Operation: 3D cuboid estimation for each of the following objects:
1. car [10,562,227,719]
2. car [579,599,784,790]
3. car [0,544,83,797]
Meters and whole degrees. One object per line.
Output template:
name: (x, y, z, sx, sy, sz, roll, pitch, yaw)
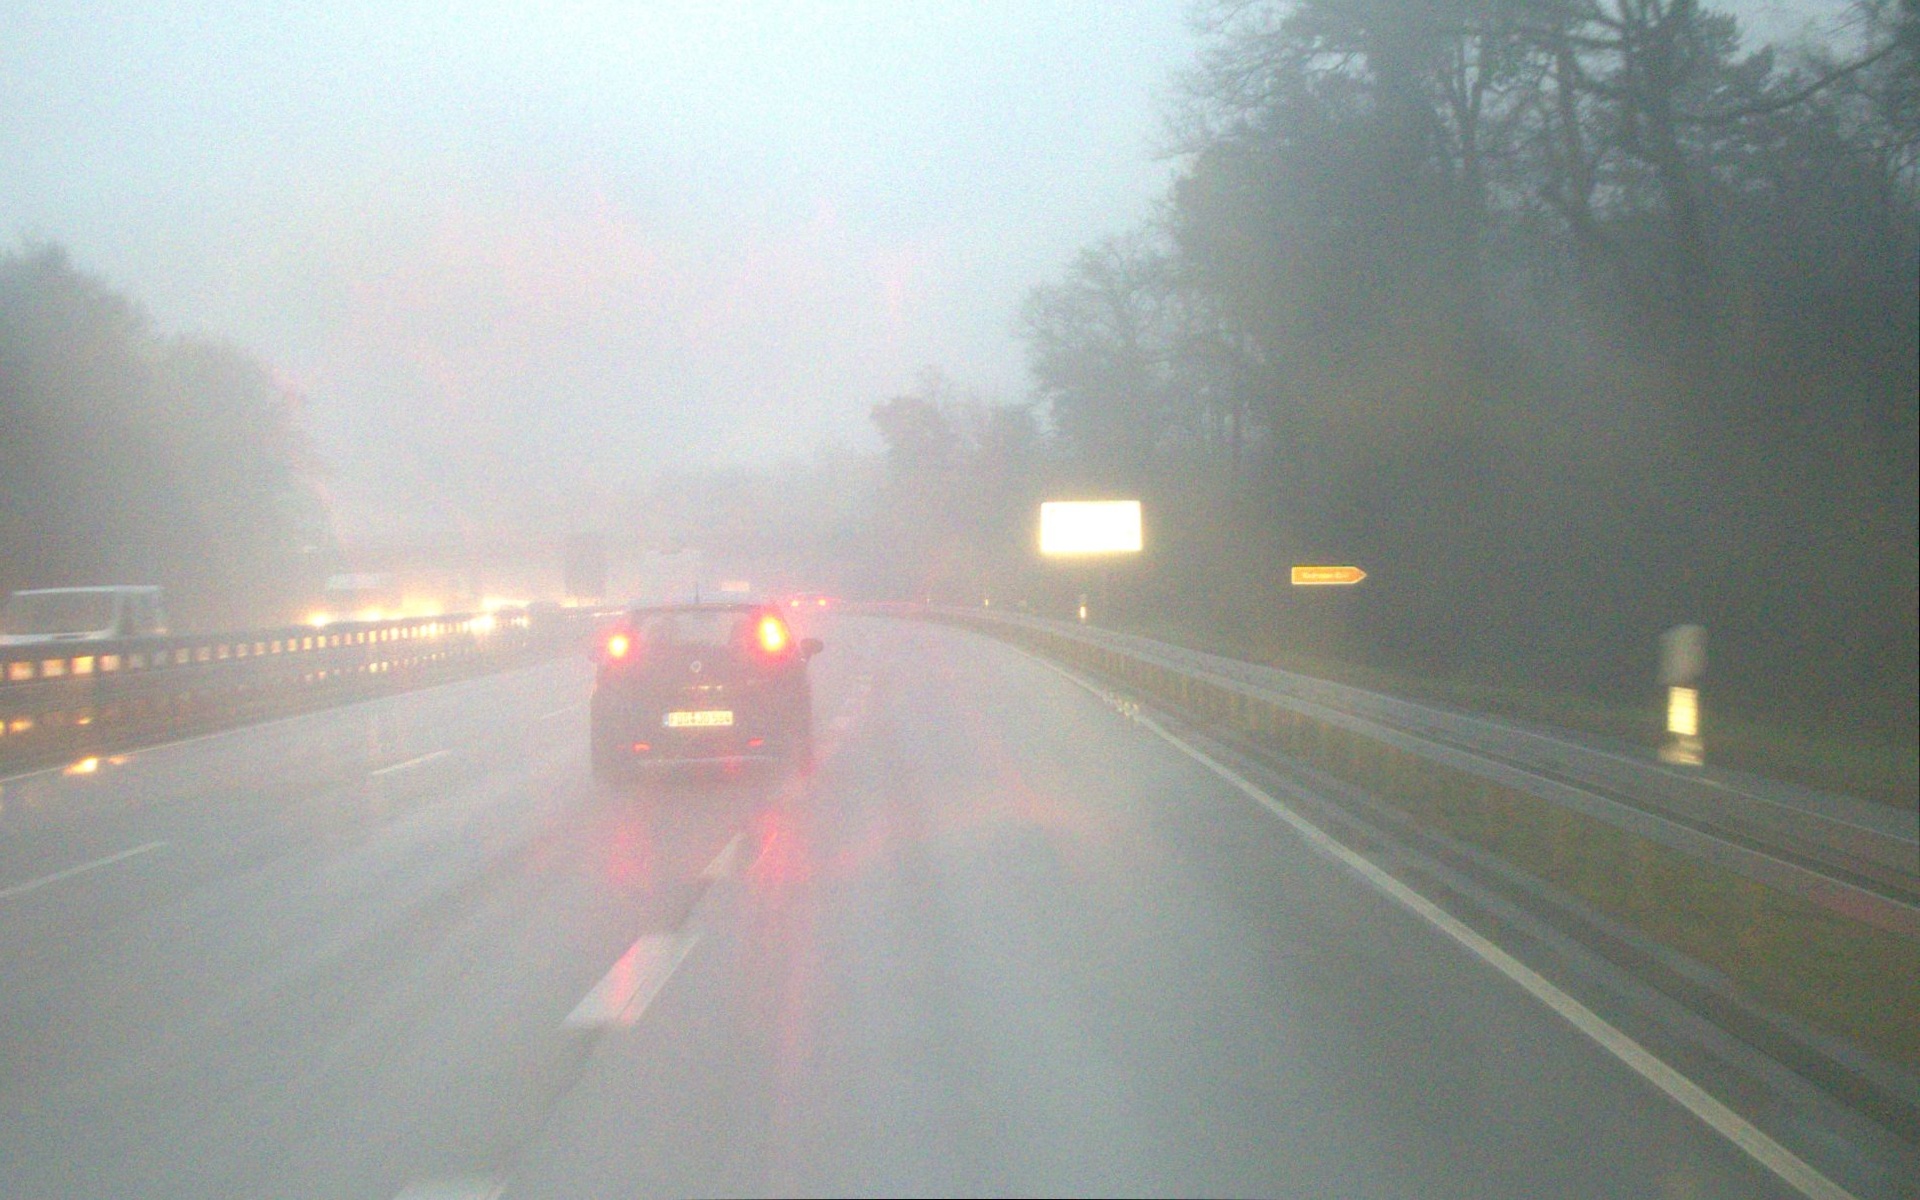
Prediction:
car: (-12.961, 0.573, 53.262, 1.975, 2.274, 5.049, -1, 0, 1)
car: (-2.212, 0.721, 27.980, 1.527, 1.411, 3.479, 1, 0, -3)
car: (-6.819, 0.505, 20.477, 1.776, 1.529, 4.703, -3, 1, 2)
